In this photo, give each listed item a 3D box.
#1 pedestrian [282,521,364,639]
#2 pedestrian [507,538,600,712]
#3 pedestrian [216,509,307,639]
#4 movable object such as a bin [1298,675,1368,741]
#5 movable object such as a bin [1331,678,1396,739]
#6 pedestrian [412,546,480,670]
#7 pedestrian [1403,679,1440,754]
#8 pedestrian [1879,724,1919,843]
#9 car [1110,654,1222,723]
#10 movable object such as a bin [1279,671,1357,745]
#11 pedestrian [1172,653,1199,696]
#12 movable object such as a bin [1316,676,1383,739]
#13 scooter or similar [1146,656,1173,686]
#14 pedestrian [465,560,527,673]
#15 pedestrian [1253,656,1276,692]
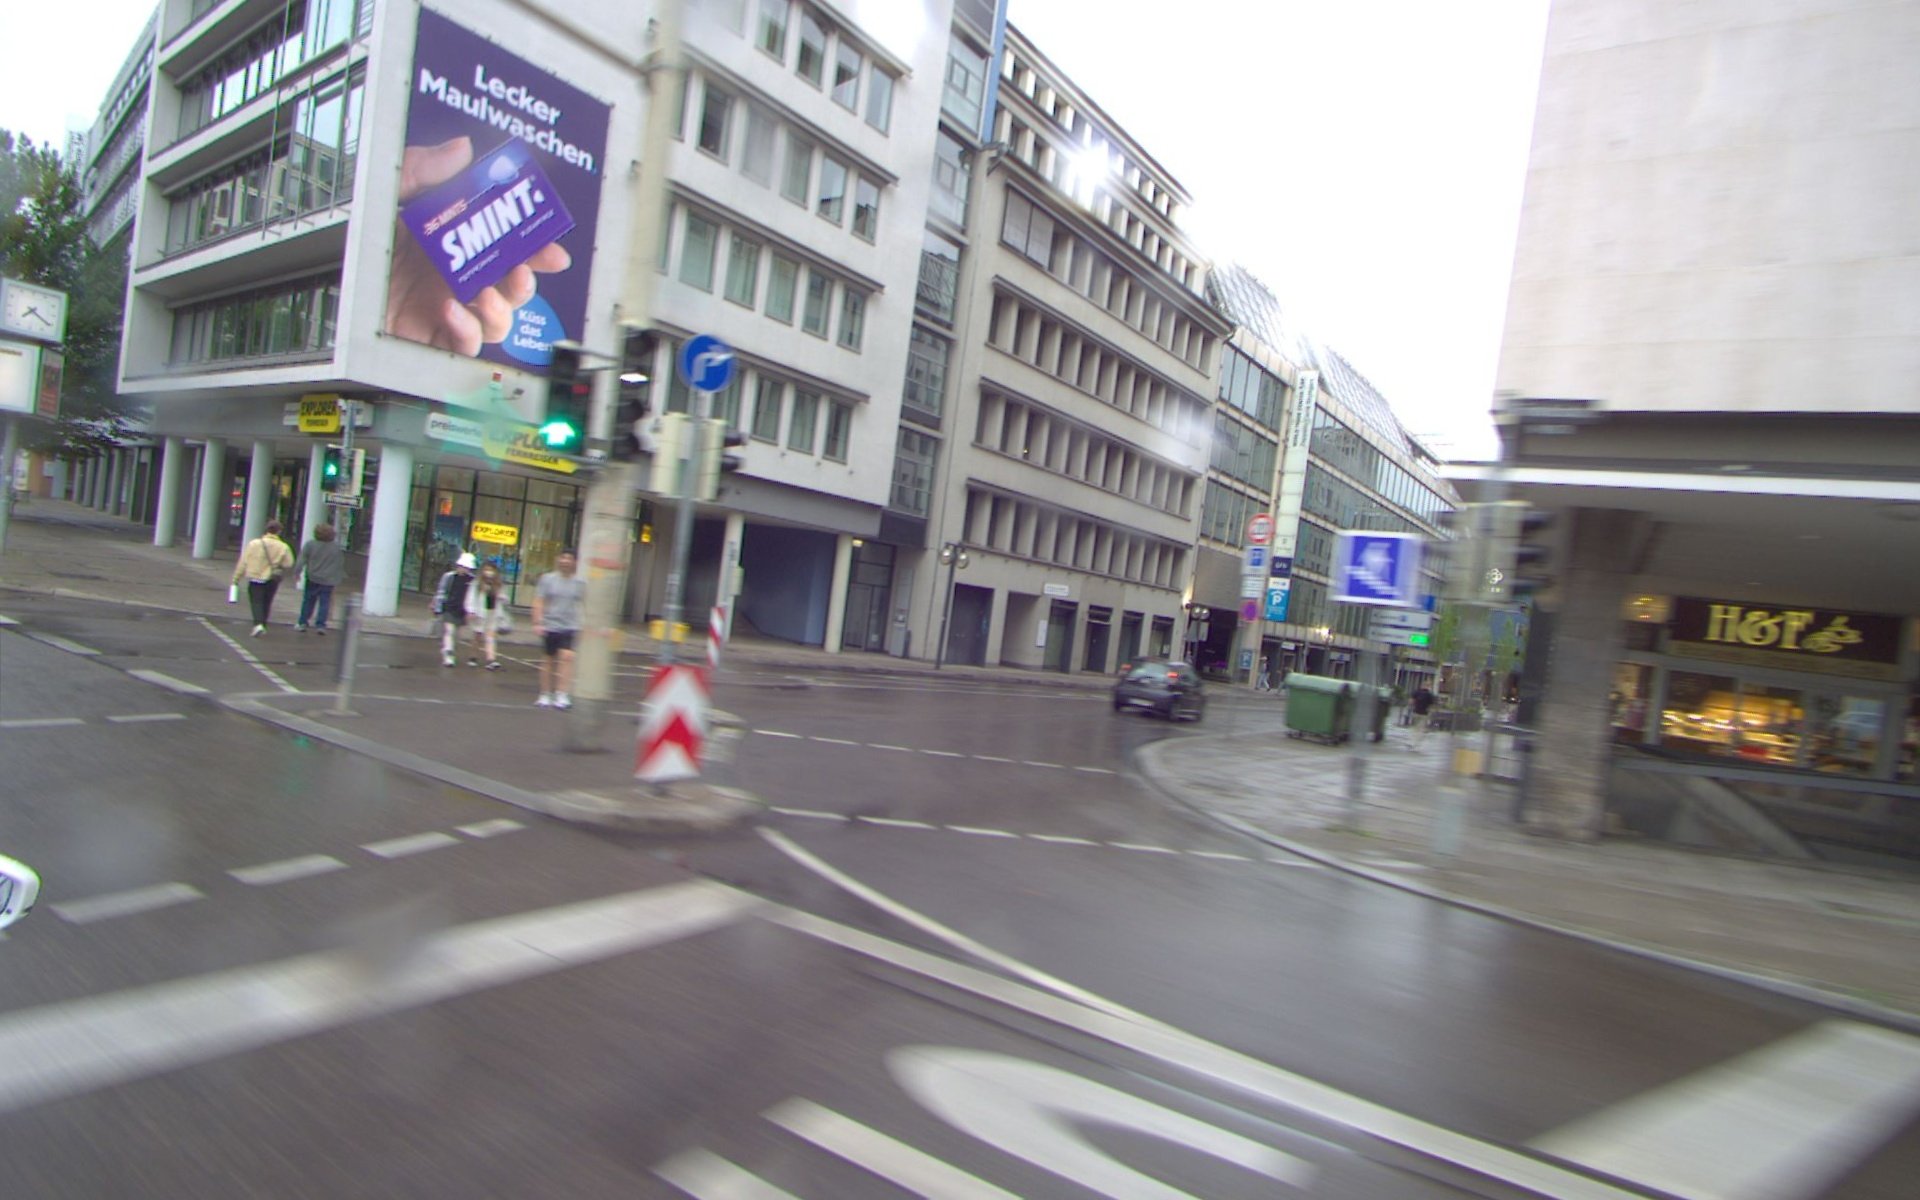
[{"bbox_3d":[-10.536,-0.326,16.641,0.804,1.820,0.748,8,0,38],"label":"pedestrian"},{"bbox_3d":[-4.515,0.271,11.154,0.663,1.815,0.767,7,-1,-29],"label":"pedestrian"},{"bbox_3d":[-10.449,-0.385,15.043,0.804,1.820,0.748,8,0,38],"label":"pedestrian"},{"bbox_3d":[9.078,2.626,24.484,1.181,1.399,1.100,7,0,39],"label":"movable object such as a bin"},{"bbox_3d":[10.645,2.853,26.563,1.181,1.399,1.100,7,0,39],"label":"movable object such as a bin"},{"bbox_3d":[-7.369,0.111,14.416,0.663,1.675,0.648,7,-1,-29],"label":"pedestrian"},{"bbox_3d":[11.490,2.893,25.026,0.586,1.752,0.771,7,-1,31],"label":"pedestrian"},{"bbox_3d":[15.649,2.996,16.239,0.698,1.825,0.800,7,-1,-1],"label":"pedestrian"},{"bbox_3d":[5.324,2.272,25.581,1.549,1.445,3.997,6,-3,29],"label":"car"},{"bbox_3d":[8.069,2.429,22.684,1.262,1.447,0.965,7,0,39],"label":"movable object such as a bin"},{"bbox_3d":[10.805,3.572,48.214,0.807,1.895,0.852,6,-1,37],"label":"pedestrian"},{"bbox_3d":[9.935,2.748,25.665,1.181,1.399,1.100,7,0,39],"label":"movable object such as a bin"},{"bbox_3d":[9.565,3.411,48.230,1.176,1.304,0.242,7,-1,-12],"label":"scooter or similar"},{"bbox_3d":[-6.804,0.233,14.745,0.619,1.561,0.648,7,-1,-29],"label":"pedestrian"},{"bbox_3d":[17.329,4.218,57.247,0.807,1.895,0.852,6,-1,37],"label":"pedestrian"}]
